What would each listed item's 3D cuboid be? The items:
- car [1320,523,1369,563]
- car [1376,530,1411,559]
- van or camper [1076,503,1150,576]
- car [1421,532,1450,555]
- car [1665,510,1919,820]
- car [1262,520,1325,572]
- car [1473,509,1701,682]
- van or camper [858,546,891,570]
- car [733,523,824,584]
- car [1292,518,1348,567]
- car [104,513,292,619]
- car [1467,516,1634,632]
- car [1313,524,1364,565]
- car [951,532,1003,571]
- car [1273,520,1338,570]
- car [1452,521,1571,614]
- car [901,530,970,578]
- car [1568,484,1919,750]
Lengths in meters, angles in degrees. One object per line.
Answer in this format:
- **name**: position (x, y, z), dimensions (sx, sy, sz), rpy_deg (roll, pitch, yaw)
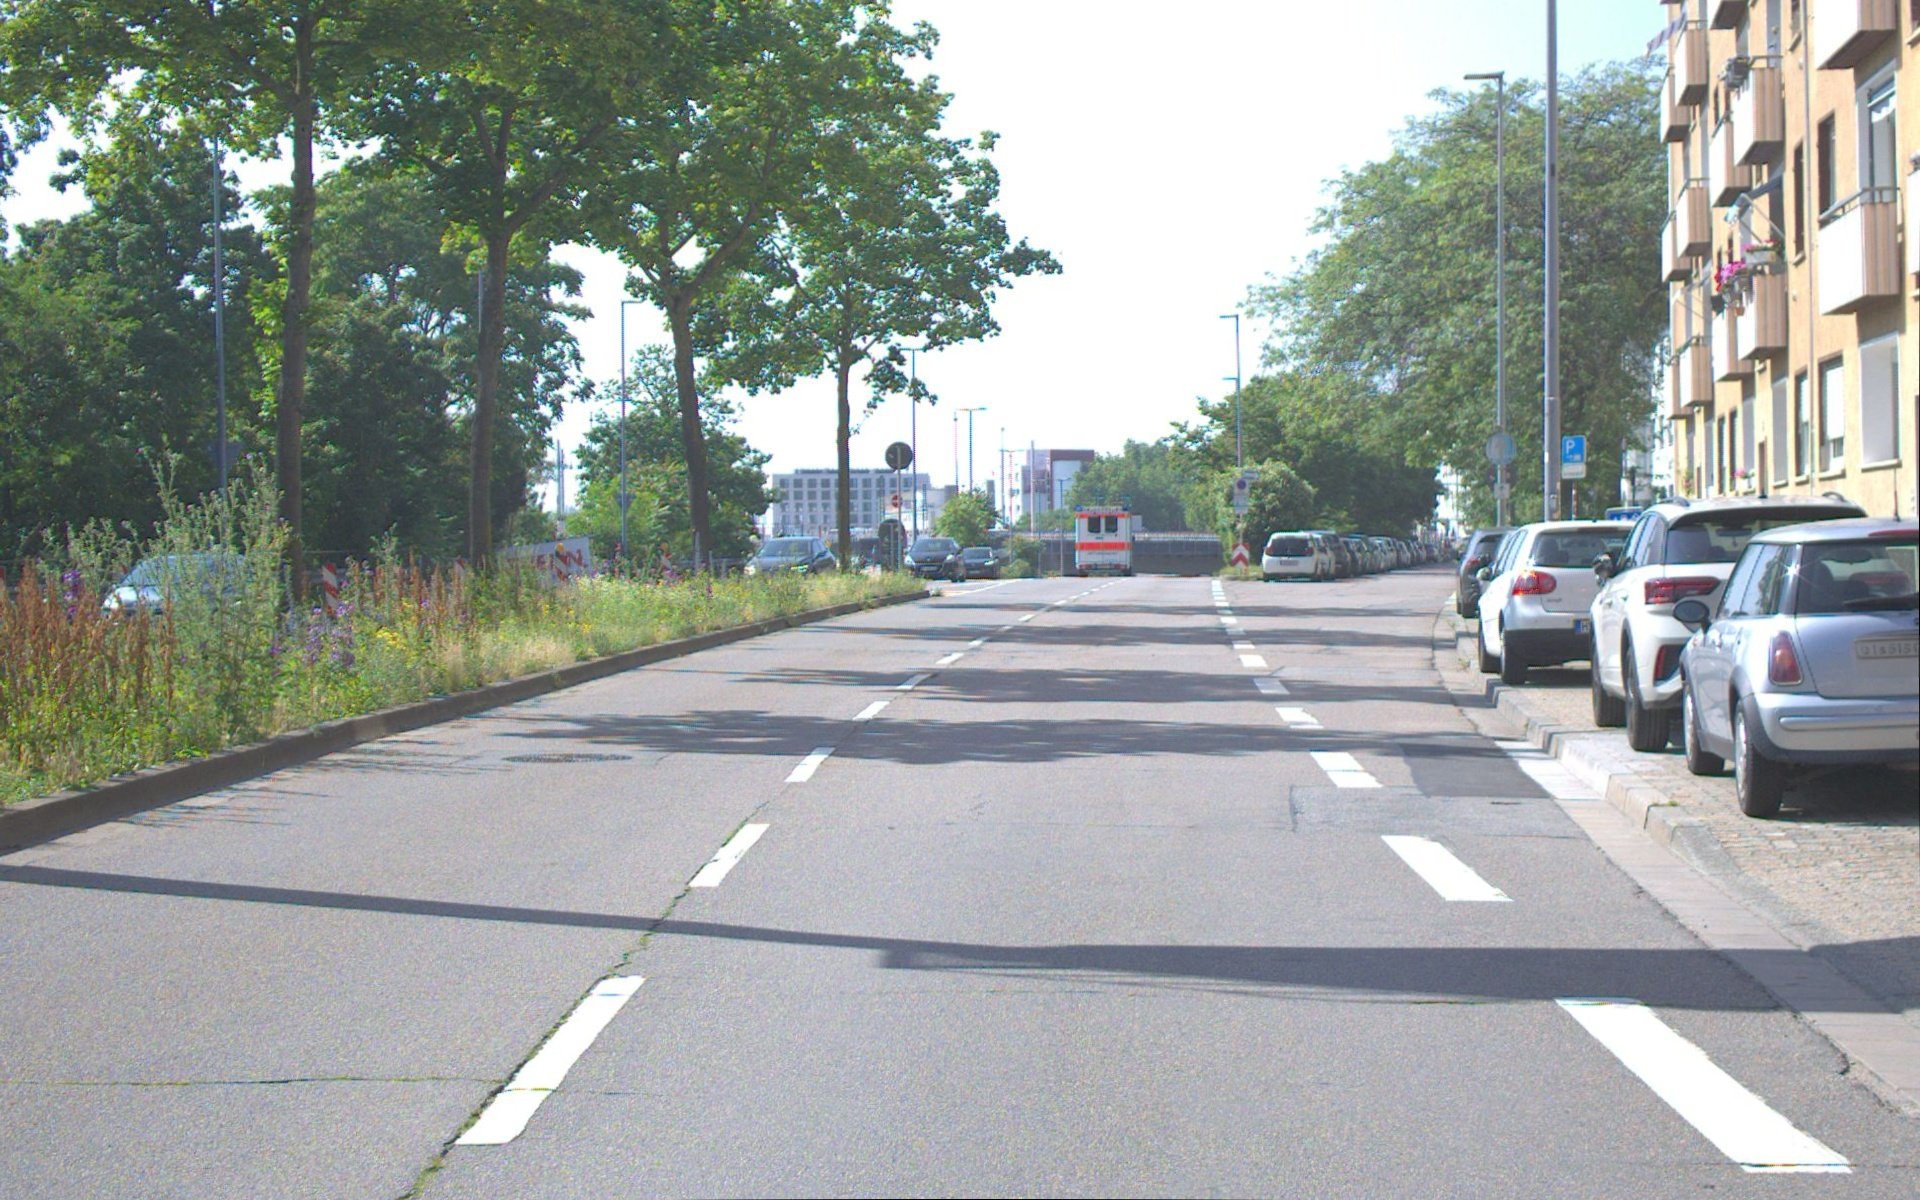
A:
- **car**: position (15.120, -2.261, 134.960), dimensions (1.664, 1.506, 3.788), rpy_deg (2, 2, 10)
- **car**: position (23.639, -3.014, 187.477), dimensions (1.664, 1.504, 4.007), rpy_deg (2, 2, 10)
- **van or camper**: position (6.012, -2.363, 134.700), dimensions (2.297, 2.779, 5.569), rpy_deg (0, 1, 9)
- **car**: position (34.501, -4.122, 249.449), dimensions (1.994, 1.651, 3.999), rpy_deg (0, 1, 9)
- **car**: position (4.708, 0.258, 17.807), dimensions (1.678, 1.404, 3.430), rpy_deg (-3, 1, 6)
- **car**: position (10.086, -1.636, 103.741), dimensions (1.620, 1.500, 3.460), rpy_deg (-1, 1, 10)
- **car**: position (5.914, -0.091, 32.816), dimensions (1.756, 1.500, 4.127), rpy_deg (-1, 1, 5)
- **van or camper**: position (-4.867, -2.388, 195.710), dimensions (1.467, 1.345, 4.630), rpy_deg (-1, 1, 3)
- **car**: position (-4.668, -1.218, 88.785), dimensions (1.798, 1.525, 3.999), rpy_deg (0, 1, 5)
- **car**: position (11.918, -1.910, 113.697), dimensions (1.772, 1.574, 4.185), rpy_deg (-1, 1, 7)
- **car**: position (-11.228, -0.532, 50.896), dimensions (1.645, 1.411, 3.970), rpy_deg (-4, 1, 3)
- **car**: position (7.874, -0.380, 46.147), dimensions (1.800, 1.433, 4.589), rpy_deg (-1, 1, 5)
- **car**: position (14.244, -2.100, 129.194), dimensions (1.664, 1.468, 3.788), rpy_deg (2, 2, 10)
- **car**: position (0.771, -2.180, 153.985), dimensions (1.994, 1.728, 4.729), rpy_deg (0, 1, 4)
- **car**: position (10.907, -1.744, 108.286), dimensions (1.722, 1.500, 4.130), rpy_deg (-1, 1, 10)
- **car**: position (9.097, -0.568, 56.955), dimensions (1.711, 1.457, 4.255), rpy_deg (-1, 1, 6)
- **car**: position (-0.773, -1.497, 110.303), dimensions (1.764, 1.469, 4.084), rpy_deg (-1, 1, 6)
- **car**: position (5.067, 0.058, 22.555), dimensions (1.736, 1.536, 4.353), rpy_deg (-1, 1, 5)
